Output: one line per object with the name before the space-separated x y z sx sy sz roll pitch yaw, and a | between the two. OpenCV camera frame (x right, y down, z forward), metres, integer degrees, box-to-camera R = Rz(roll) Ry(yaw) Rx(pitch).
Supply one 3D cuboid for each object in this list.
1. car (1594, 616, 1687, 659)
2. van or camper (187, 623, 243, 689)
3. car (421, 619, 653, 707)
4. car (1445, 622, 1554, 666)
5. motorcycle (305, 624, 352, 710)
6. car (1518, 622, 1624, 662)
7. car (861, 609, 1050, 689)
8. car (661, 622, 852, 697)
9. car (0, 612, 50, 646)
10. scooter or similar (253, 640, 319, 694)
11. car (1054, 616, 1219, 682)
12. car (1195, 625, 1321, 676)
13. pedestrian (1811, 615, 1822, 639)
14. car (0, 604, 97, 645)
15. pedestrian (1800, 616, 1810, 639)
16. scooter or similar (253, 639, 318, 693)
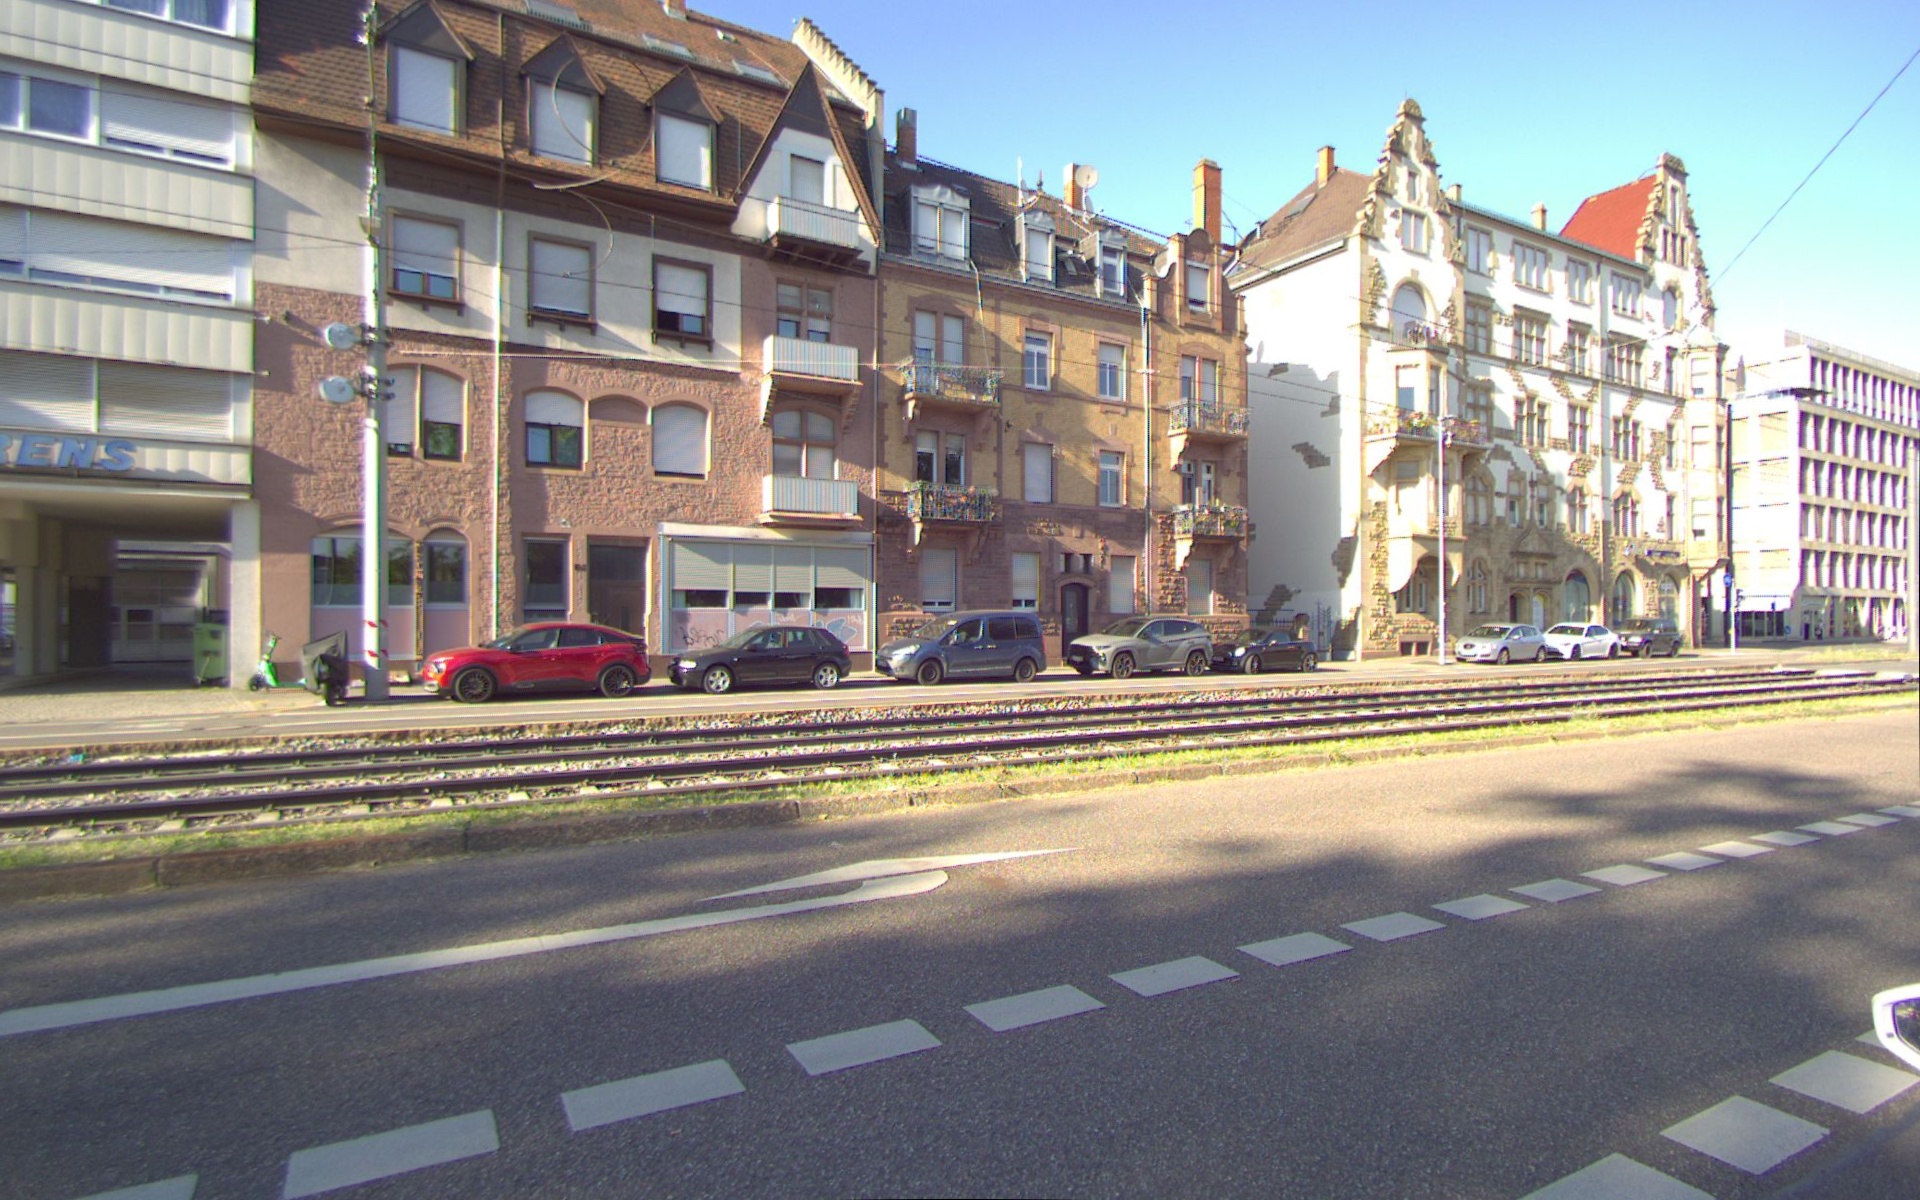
car | 29.031 1.576 42.846 4.169 1.698 1.707 0 1 -32
van or camper | -16.140 1.199 21.782 0.794 1.375 1.418 0 -1 -30
car | -8.590 1.203 20.493 4.162 1.519 1.846 0 2 -31
car | 19.914 1.595 37.028 4.177 1.450 1.699 0 1 -33
motorcycle | -11.758 1.216 18.750 0.621 1.441 1.847 0 1 -29
car | 24.356 1.625 40.024 4.604 1.442 1.707 0 1 -32
car | -0.088 1.174 25.206 4.362 1.782 1.878 1 2 -28
car | -4.542 1.279 22.536 3.883 1.457 1.686 0 2 -31
car | -52.187 1.567 54.317 4.075 1.835 1.879 1 -1 -31
scooter or similar | -13.881 1.373 20.702 1.108 1.083 0.203 0 0 -30
car | 4.988 1.312 28.238 4.451 1.645 1.846 0 2 -31
car | 9.109 1.499 30.608 3.683 1.373 1.614 0 2 -31
pedestrian | 67.176 2.141 78.768 0.522 1.868 0.443 -1 -1 22
car | -53.564 1.384 57.074 6.524 2.288 2.343 1 -1 -31
pedestrian | 66.723 2.172 79.312 0.464 1.868 0.443 -1 -1 22
scooter or similar | -14.018 1.366 20.903 1.108 1.083 0.203 0 0 -30
